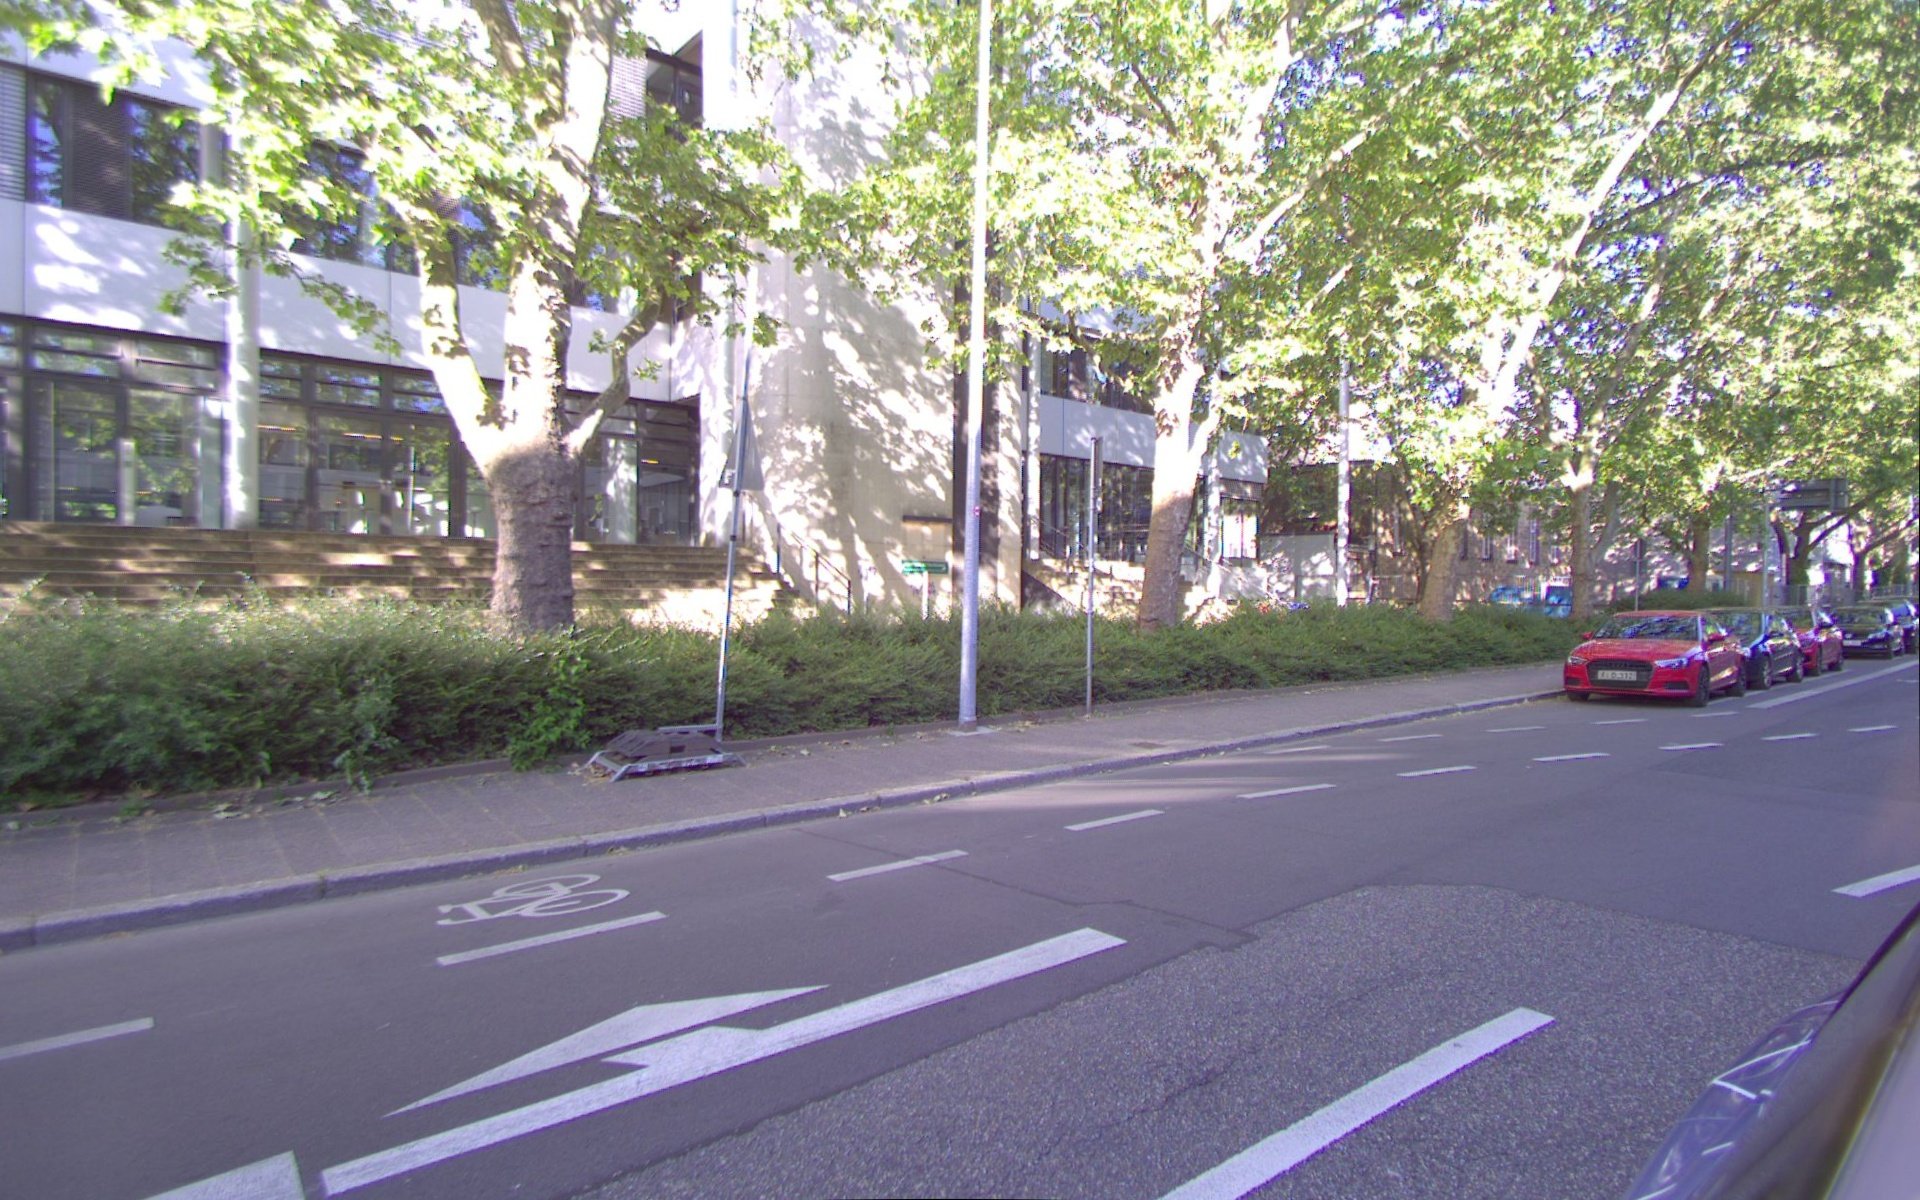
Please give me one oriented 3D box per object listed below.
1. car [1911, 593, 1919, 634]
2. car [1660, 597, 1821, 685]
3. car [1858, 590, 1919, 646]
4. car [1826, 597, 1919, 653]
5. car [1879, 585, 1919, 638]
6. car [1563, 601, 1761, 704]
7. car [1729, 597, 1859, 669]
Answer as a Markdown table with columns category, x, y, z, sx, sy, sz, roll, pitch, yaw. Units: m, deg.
| category | x | y | z | sx | sy | sz | roll | pitch | yaw |
| --- | --- | --- | --- | --- | --- | --- | --- | --- | --- |
| car | 38.704 | 0.511 | 39.718 | 3.801 | 1.581 | 1.684 | 0 | 1 | -41 |
| car | 14.807 | 0.702 | 19.139 | 3.930 | 1.485 | 1.684 | 0 | 0 | -41 |
| car | 29.512 | 0.523 | 31.646 | 3.770 | 1.640 | 1.684 | 0 | 1 | -41 |
| car | 26.011 | 0.654 | 28.693 | 3.930 | 1.469 | 1.684 | 0 | 1 | -41 |
| car | 33.967 | 0.391 | 35.702 | 4.354 | 1.790 | 1.818 | 0 | 1 | -41 |
| car | 11.242 | 0.753 | 16.112 | 3.962 | 1.439 | 1.722 | 0 | -2 | -42 |
| car | 18.608 | 0.674 | 22.533 | 3.715 | 1.452 | 1.664 | 0 | 1 | -41 |
